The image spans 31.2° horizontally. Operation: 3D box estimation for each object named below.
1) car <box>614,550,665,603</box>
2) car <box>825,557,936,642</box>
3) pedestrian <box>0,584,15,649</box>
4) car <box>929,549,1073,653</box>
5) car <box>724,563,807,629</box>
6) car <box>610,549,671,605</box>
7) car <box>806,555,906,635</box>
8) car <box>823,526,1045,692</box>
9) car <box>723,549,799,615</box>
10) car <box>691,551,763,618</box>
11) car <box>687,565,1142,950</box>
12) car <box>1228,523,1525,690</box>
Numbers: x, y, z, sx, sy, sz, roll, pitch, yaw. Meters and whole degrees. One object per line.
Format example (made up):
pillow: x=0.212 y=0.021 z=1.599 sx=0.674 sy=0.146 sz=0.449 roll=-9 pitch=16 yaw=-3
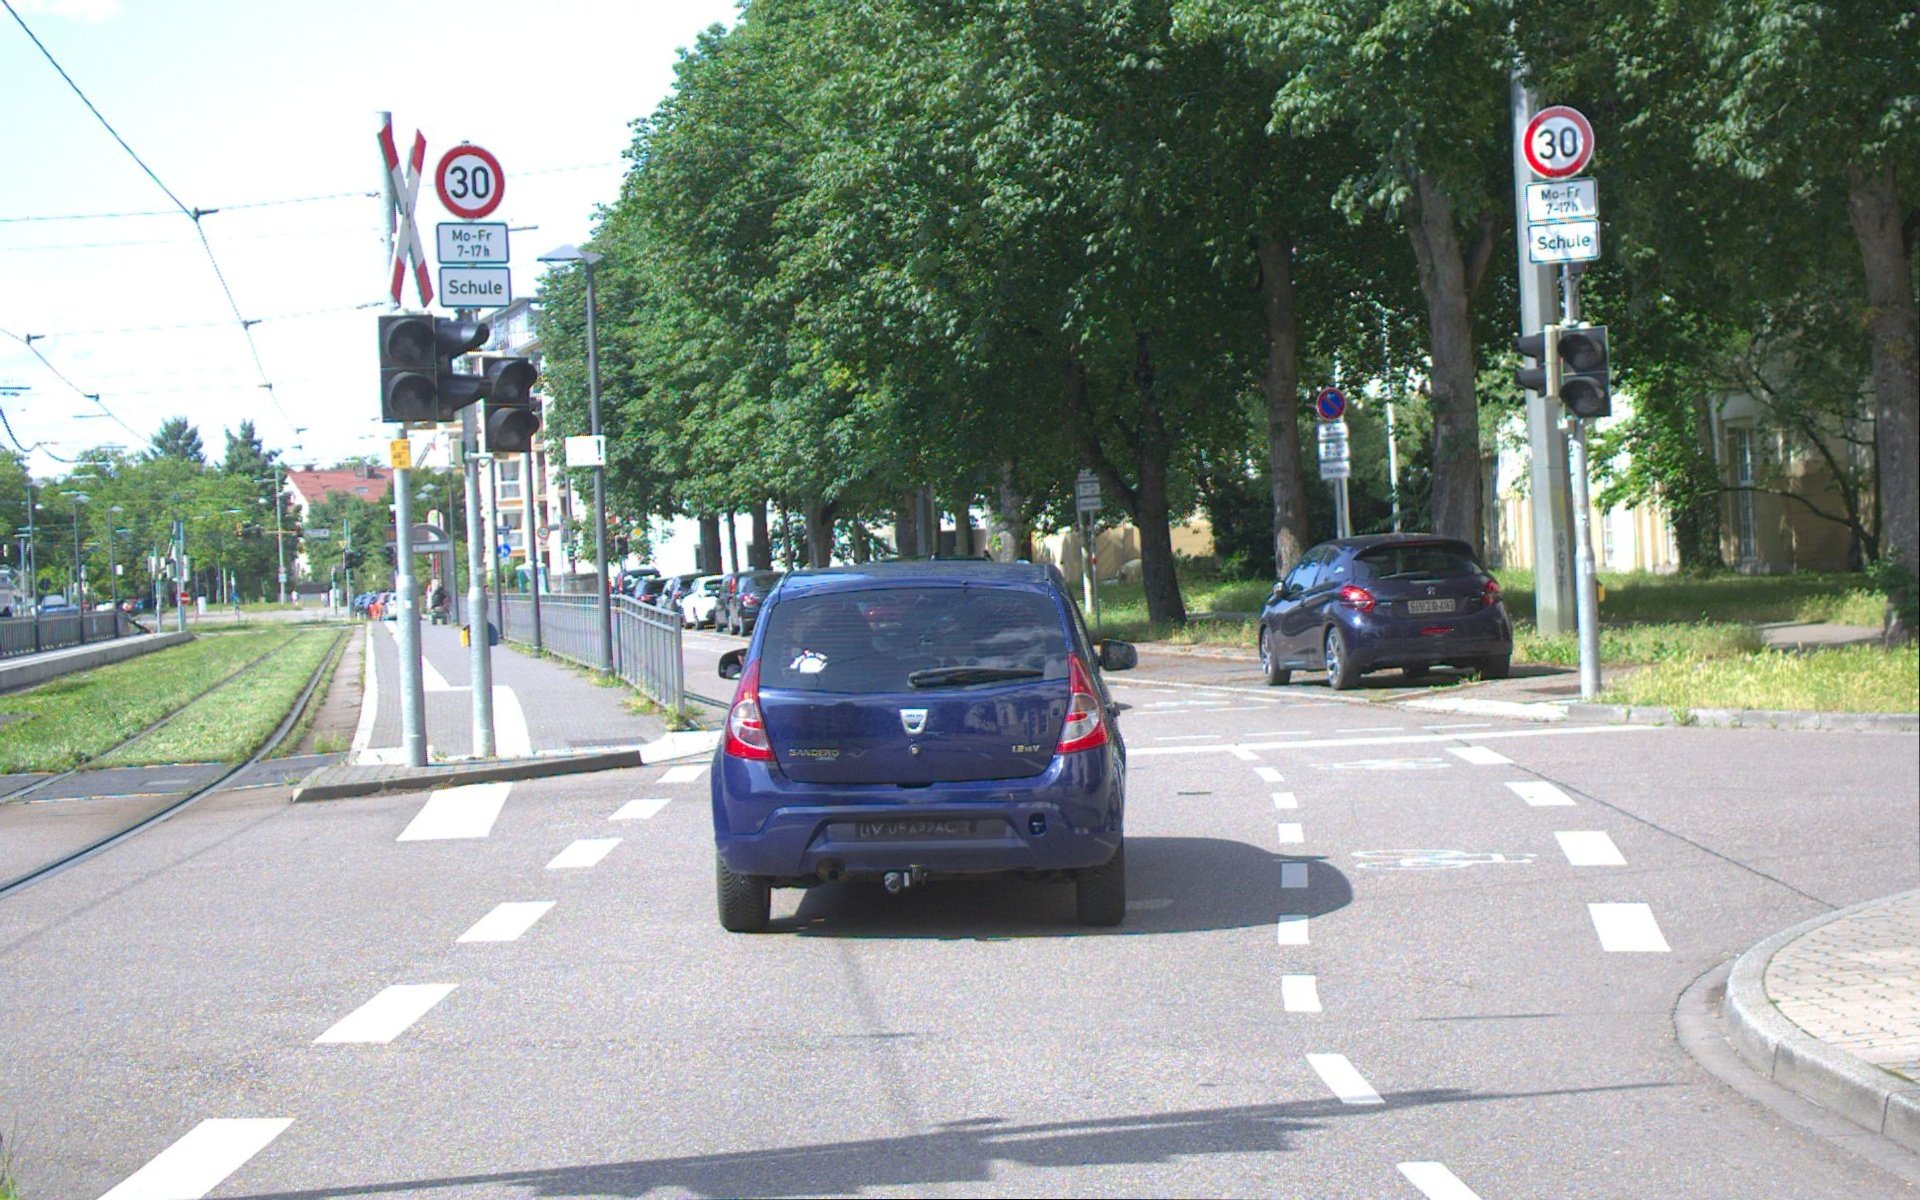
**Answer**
car: x=-11.330 y=-0.854 z=121.663 sx=1.667 sy=1.766 sz=4.001 roll=-3 pitch=1 yaw=-5
car: x=-1.553 y=-0.041 z=65.939 sx=1.861 sy=1.440 sz=4.001 roll=-4 pitch=1 yaw=-4
pedestrian: x=-21.898 y=0.404 z=77.330 sx=1.028 sy=1.433 sz=0.703 roll=-5 pitch=2 yaw=-23
car: x=0.608 y=-0.011 z=54.230 sx=1.861 sy=1.440 sz=4.001 roll=-4 pitch=1 yaw=-4
car: x=-4.724 y=-0.115 z=83.034 sx=1.861 sy=1.440 sz=4.001 roll=-4 pitch=1 yaw=-4
car: x=-10.719 y=-0.790 z=115.562 sx=1.830 sy=1.755 sz=4.001 roll=-3 pitch=1 yaw=-4
car: x=-2.173 y=-0.117 z=70.708 sx=1.851 sy=1.510 sz=4.001 roll=-3 pitch=1 yaw=-4
car: x=-0.287 y=0.040 z=31.098 sx=1.699 sy=1.363 sz=3.515 roll=-2 pitch=1 yaw=-5
car: x=-5.142 y=-0.479 z=88.589 sx=1.828 sy=1.532 sz=4.001 roll=-4 pitch=1 yaw=-4
car: x=-6.579 y=-0.445 z=96.750 sx=1.617 sy=1.744 sz=4.001 roll=-3 pitch=1 yaw=-8
car: x=-0.187 y=0.603 z=15.444 sx=1.768 sy=1.457 sz=3.776 roll=-1 pitch=1 yaw=0
car: x=4.020 y=0.045 z=33.791 sx=1.765 sy=1.428 sz=3.905 roll=-4 pitch=1 yaw=-10
